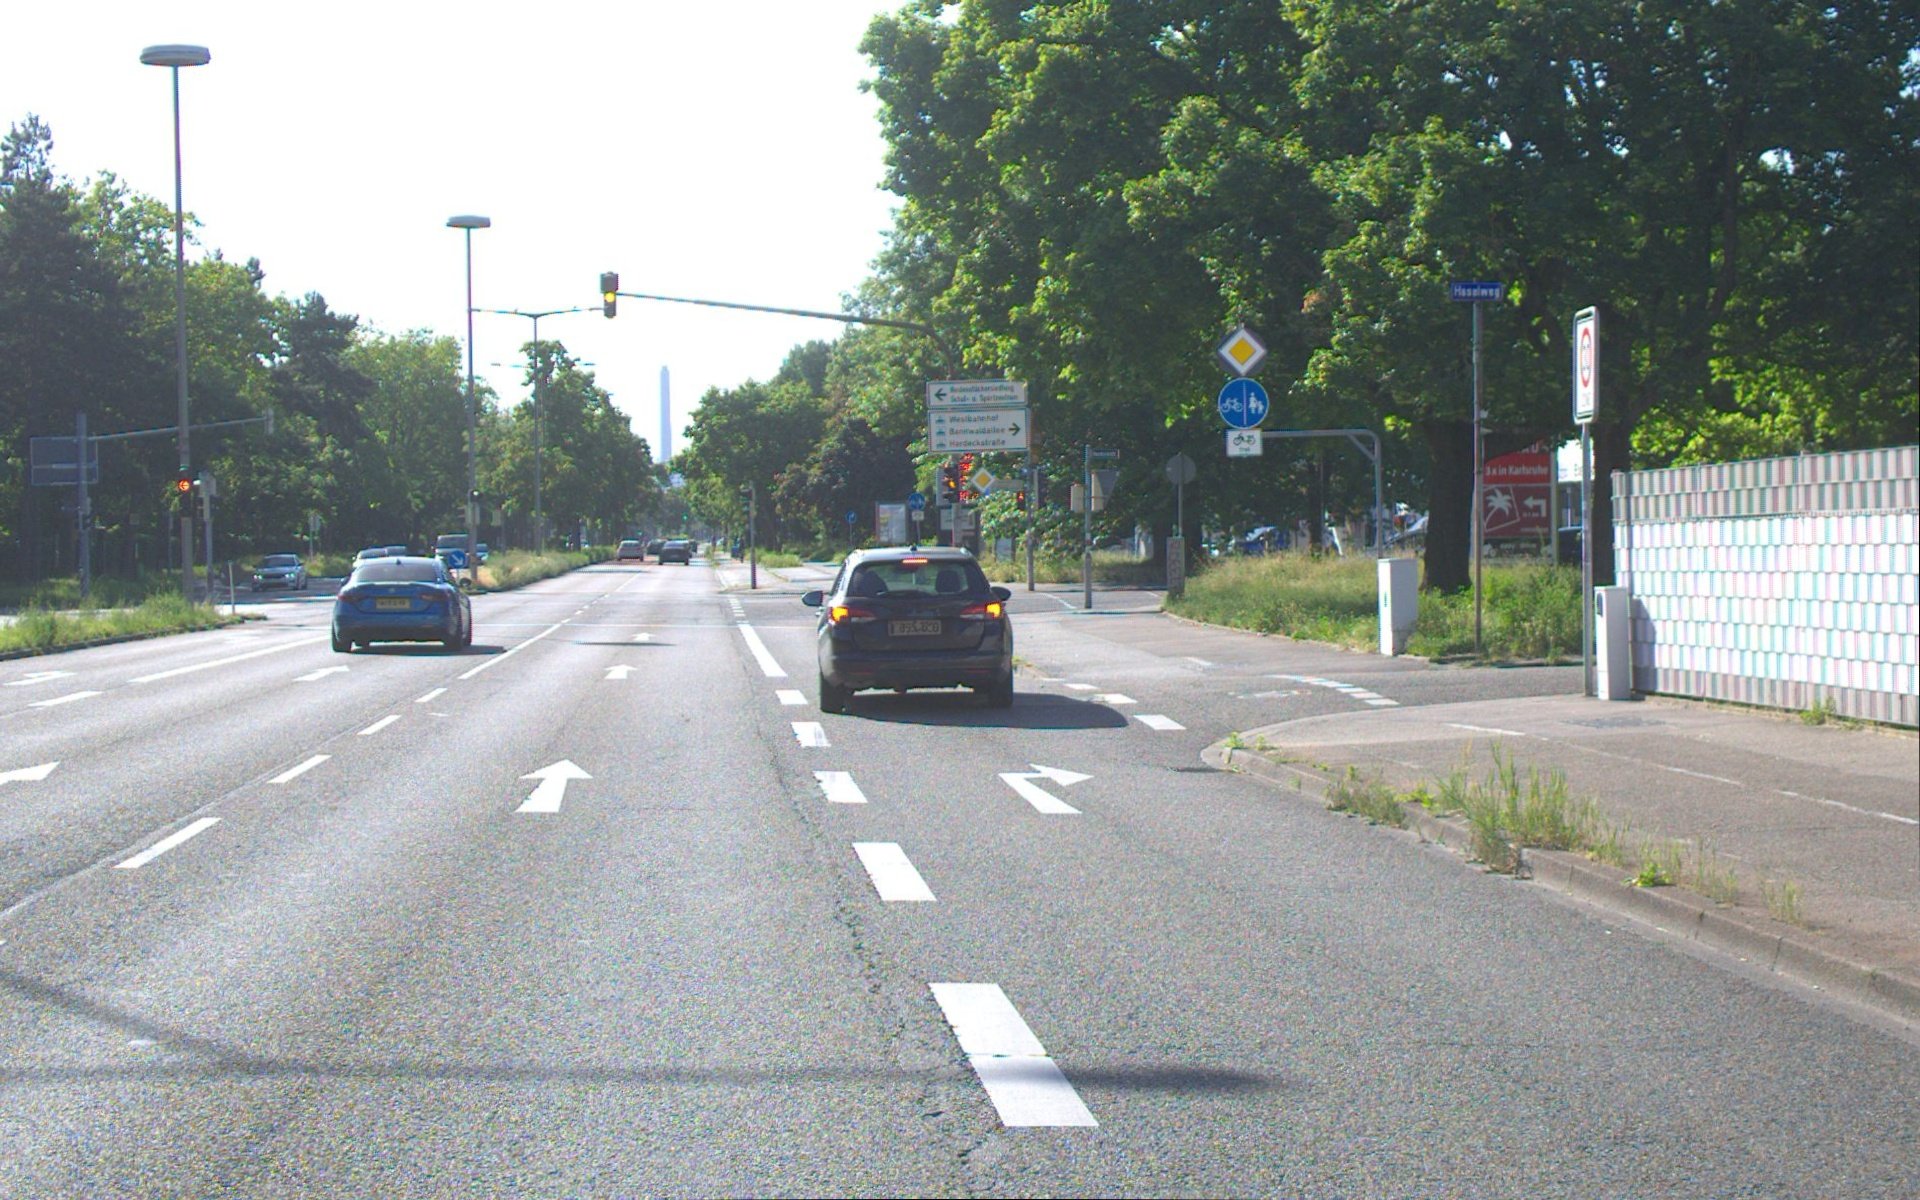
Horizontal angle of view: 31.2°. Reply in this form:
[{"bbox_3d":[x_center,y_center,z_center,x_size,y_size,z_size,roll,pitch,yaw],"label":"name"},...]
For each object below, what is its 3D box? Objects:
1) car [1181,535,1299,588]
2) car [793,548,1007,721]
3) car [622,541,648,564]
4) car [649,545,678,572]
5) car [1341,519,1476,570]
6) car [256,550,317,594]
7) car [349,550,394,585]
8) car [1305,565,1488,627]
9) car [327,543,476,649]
[{"bbox_3d":[9.699,-1.322,118.933,3.711,1.679,1.704,2,0,-30],"label":"car"},{"bbox_3d":[-0.619,0.302,32.139,1.755,1.504,3.809,1,0,-4],"label":"car"},{"bbox_3d":[-22.847,-3.325,241.973,1.824,1.609,3.841,0,1,-5],"label":"car"},{"bbox_3d":[-18.383,-2.591,213.106,1.732,1.579,3.841,2,0,-5],"label":"car"},{"bbox_3d":[14.337,-1.775,109.891,3.835,1.477,1.805,2,0,-23],"label":"car"},{"bbox_3d":[-27.142,-1.128,138.676,1.864,1.678,4.261,2,0,-4],"label":"car"},{"bbox_3d":[-30.238,-1.683,176.751,1.864,1.678,4.001,2,1,-4],"label":"car"},{"bbox_3d":[11.230,-0.090,88.531,4.620,1.568,1.999,0,0,7],"label":"car"},{"bbox_3d":[-8.440,-0.058,52.240,1.888,1.547,4.001,0,0,-4],"label":"car"}]
